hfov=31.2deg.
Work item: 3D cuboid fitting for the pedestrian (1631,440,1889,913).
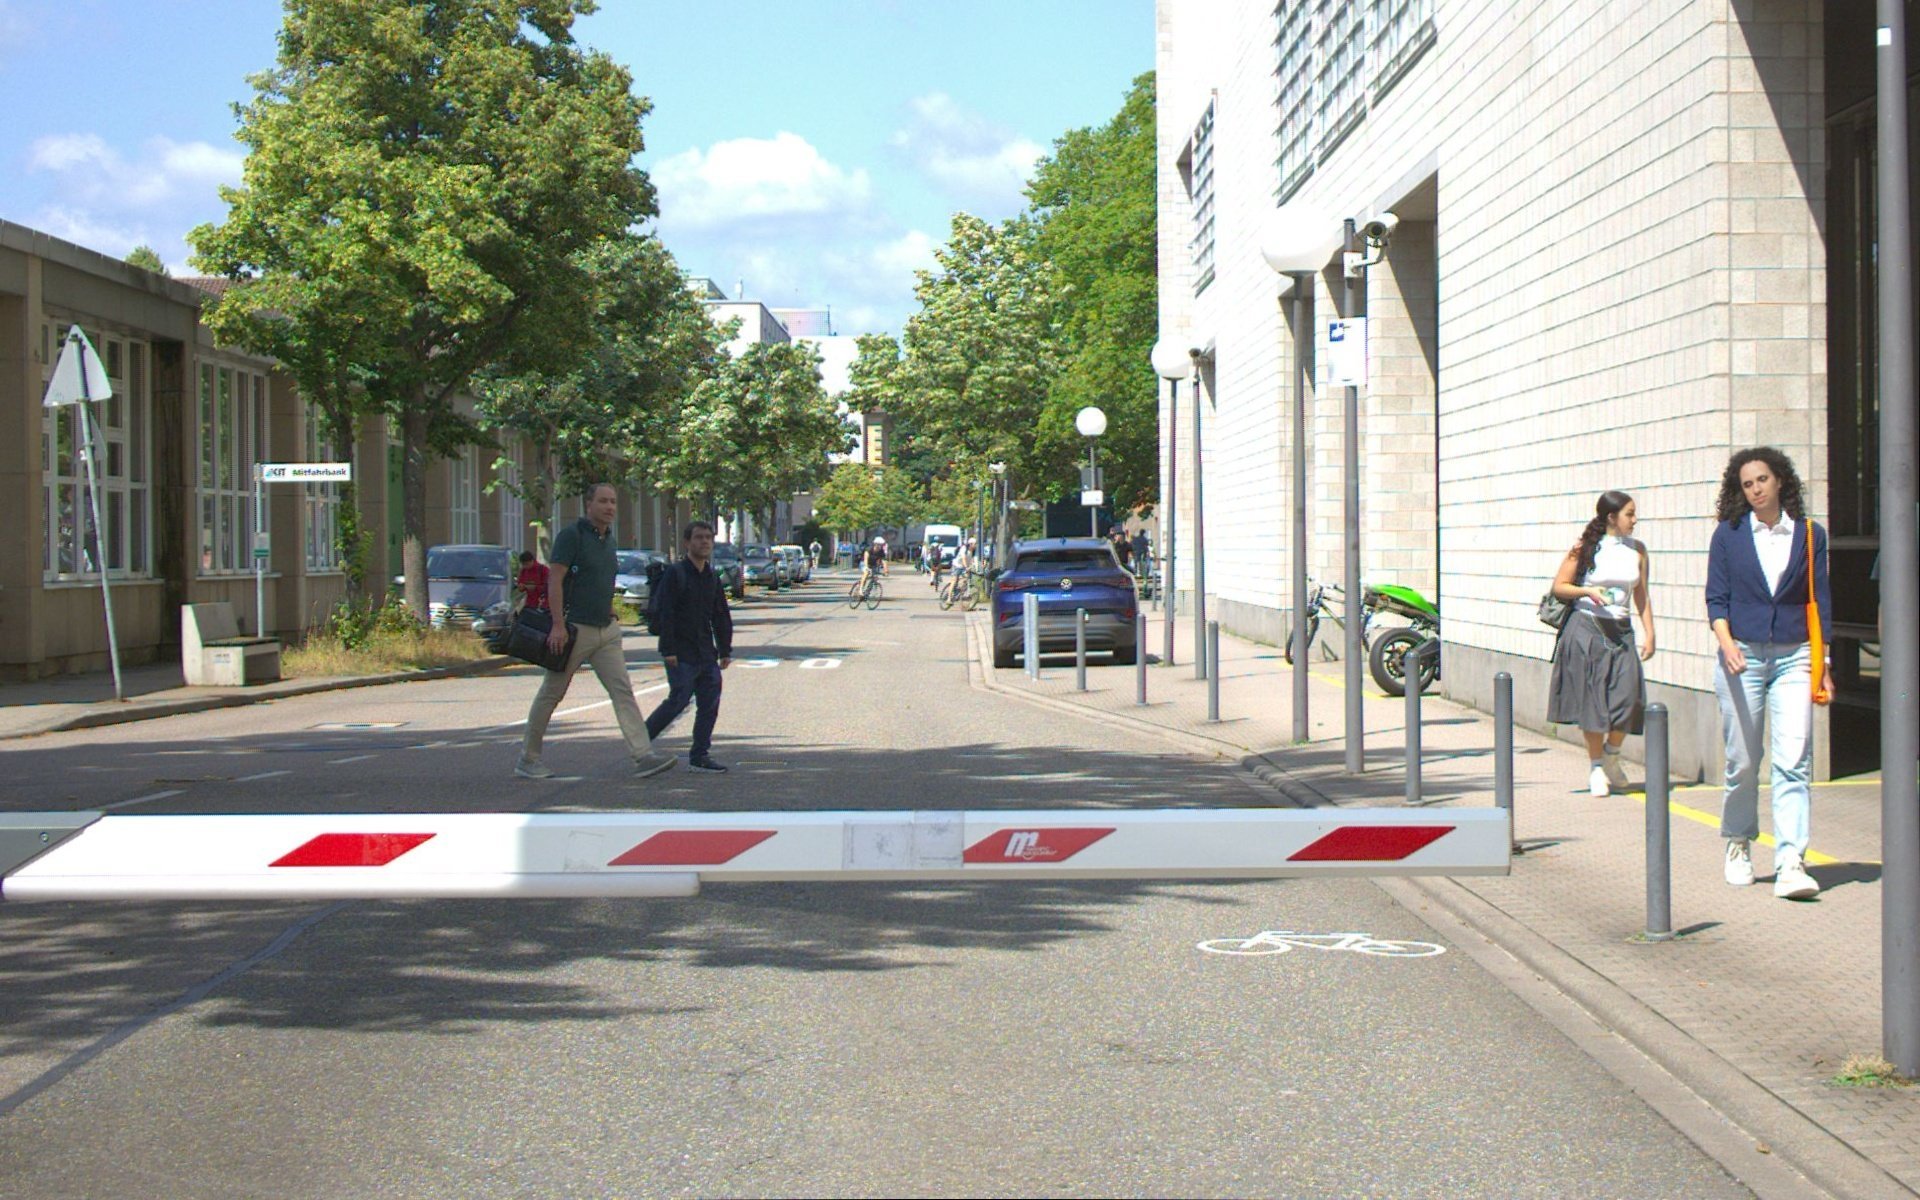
[{"bbox_3d":[3.149,0.277,13.620,0.694,1.774,1.086,-2,1,-1],"label":"pedestrian"}]

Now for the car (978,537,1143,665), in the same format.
[{"bbox_3d":[1.234,-0.031,43.709,1.993,1.540,4.212,0,1,0],"label":"car"}]

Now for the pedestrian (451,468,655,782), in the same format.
[{"bbox_3d":[-2.565,0.151,21.639,1.002,1.919,0.888,0,0,-29],"label":"pedestrian"}]

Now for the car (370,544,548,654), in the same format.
[{"bbox_3d":[-7.382,-0.044,51.014,1.993,1.540,4.212,0,1,0],"label":"car"}]

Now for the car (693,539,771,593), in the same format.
[{"bbox_3d":[-6.677,-1.029,101.106,1.993,1.540,4.212,0,1,0],"label":"car"}]

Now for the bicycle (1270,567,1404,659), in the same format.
[{"bbox_3d":[4.462,0.150,40.635,1.544,1.063,0.647,-1,1,8],"label":"bicycle"}]

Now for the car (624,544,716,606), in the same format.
[{"bbox_3d":[-7.452,-0.655,88.719,1.993,1.540,4.212,0,1,0],"label":"car"}]

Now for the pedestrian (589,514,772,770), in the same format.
[{"bbox_3d":[-1.822,0.264,22.387,0.894,1.627,0.888,0,0,-29],"label":"pedestrian"}]

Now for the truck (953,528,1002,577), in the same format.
[{"bbox_3d":[0.738,-2.035,148.637,1.993,2.007,4.000,-1,-1,-1],"label":"truck"}]

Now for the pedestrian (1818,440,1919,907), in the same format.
[{"bbox_3d":[3.915,0.258,13.557,0.767,1.774,0.911,-2,1,-1],"label":"pedestrian"}]

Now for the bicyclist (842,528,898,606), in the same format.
[{"bbox_3d":[-2.188,-0.793,83.729,0.987,1.877,1.036,0,-1,-27],"label":"bicyclist"}]

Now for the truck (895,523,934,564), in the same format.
[{"bbox_3d":[-2.625,-3.281,198.638,2.233,2.291,4.841,0,1,-1],"label":"truck"}]

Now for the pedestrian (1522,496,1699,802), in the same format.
[{"bbox_3d":[3.589,0.255,19.022,0.741,1.627,0.888,-2,1,-1],"label":"pedestrian"}]

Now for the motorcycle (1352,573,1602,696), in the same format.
[{"bbox_3d":[4.648,0.310,30.983,2.123,1.019,0.660,-2,-1,2],"label":"motorcycle"}]

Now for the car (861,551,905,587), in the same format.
[{"bbox_3d":[-3.978,-1.587,177.163,1.994,1.714,3.999,-1,-1,3],"label":"car"}]

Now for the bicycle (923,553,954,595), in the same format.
[{"bbox_3d":[-0.695,-0.840,112.098,0.987,1.311,2.964,-1,-1,-1],"label":"bicycle"}]

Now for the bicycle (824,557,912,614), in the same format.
[{"bbox_3d":[-2.250,-0.341,83.815,0.987,1.311,2.964,0,-1,-26],"label":"bicycle"}]

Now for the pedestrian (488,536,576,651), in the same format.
[{"bbox_3d":[-6.111,-0.090,49.126,0.895,1.627,0.886,0,0,28],"label":"pedestrian"}]

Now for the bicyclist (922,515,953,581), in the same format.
[{"bbox_3d":[-0.721,-1.699,112.125,0.987,2.125,1.036,-1,-1,-1],"label":"bicyclist"}]

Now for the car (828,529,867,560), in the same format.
[{"bbox_3d":[-6.699,-3.286,205.570,1.994,1.714,3.999,-1,-1,3],"label":"car"}]

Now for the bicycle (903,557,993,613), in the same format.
[{"bbox_3d":[-0.310,-0.363,84.120,0.987,1.311,2.964,0,-1,-26],"label":"bicycle"}]

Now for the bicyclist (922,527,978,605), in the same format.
[{"bbox_3d":[-0.245,-0.816,84.028,0.987,1.877,1.036,0,-1,-27],"label":"bicyclist"}]
